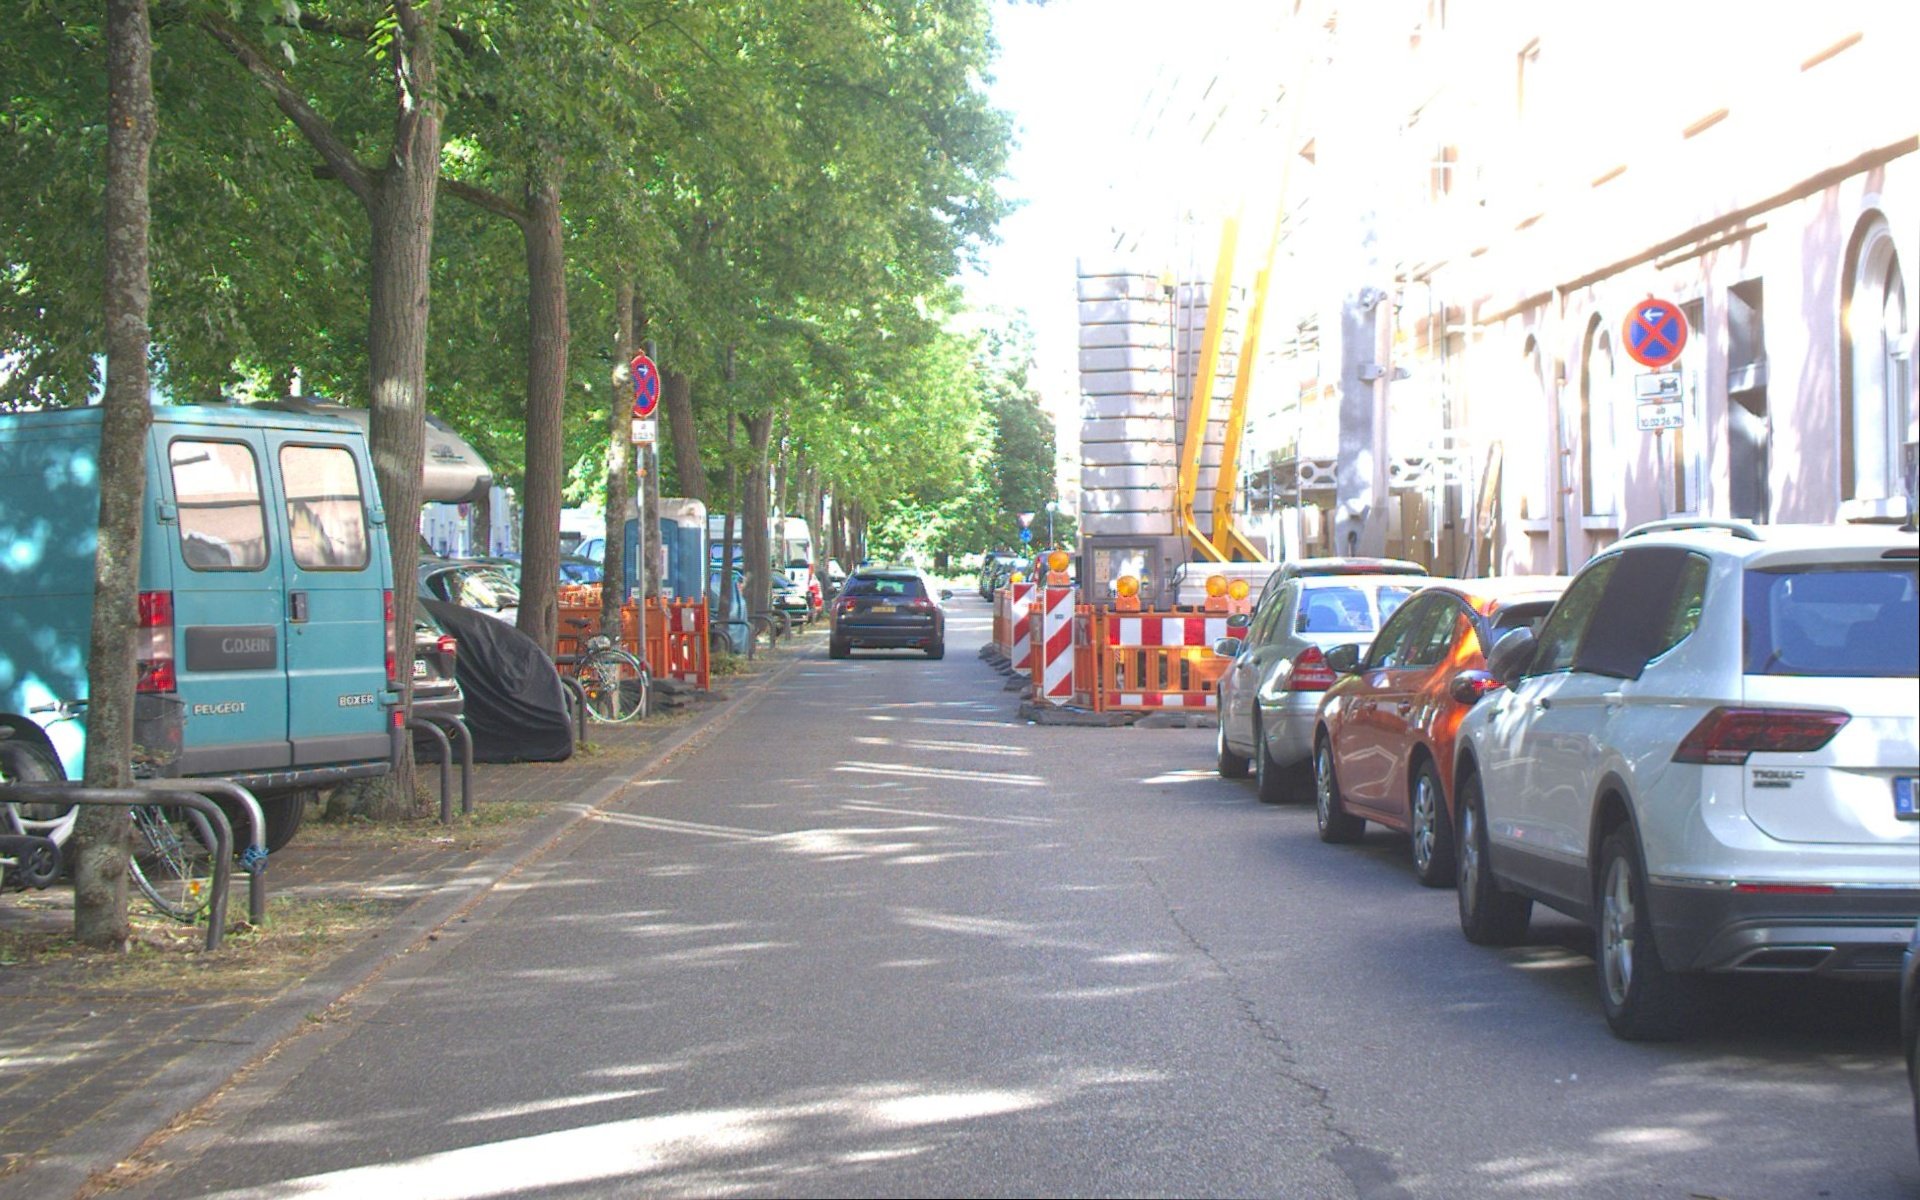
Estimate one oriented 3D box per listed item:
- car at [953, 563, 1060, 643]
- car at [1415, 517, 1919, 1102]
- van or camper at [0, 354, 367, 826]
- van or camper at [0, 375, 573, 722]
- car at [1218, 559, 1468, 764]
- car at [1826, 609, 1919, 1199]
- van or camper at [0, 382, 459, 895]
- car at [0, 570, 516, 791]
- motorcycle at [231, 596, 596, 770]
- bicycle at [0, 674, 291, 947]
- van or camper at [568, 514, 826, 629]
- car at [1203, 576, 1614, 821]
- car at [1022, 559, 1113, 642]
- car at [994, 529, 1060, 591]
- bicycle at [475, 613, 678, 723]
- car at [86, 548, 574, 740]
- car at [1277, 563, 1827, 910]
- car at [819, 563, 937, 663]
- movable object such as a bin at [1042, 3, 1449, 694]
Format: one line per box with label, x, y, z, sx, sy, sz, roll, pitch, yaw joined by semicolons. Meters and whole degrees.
car;0.828;0.035;63.009;1.797;1.380;3.586;-1;1;-2
car;2.851;0.558;12.177;1.816;1.668;4.673;-1;1;0
van or camper;-6.776;-0.058;21.548;5.877;2.628;2.251;-1;1;29
van or camper;-7.396;-0.478;34.647;6.666;3.229;2.492;-1;1;28
car;2.972;0.444;27.149;1.591;1.525;2.781;0;1;-2
car;2.999;0.752;6.735;1.617;1.408;3.788;-1;1;0
van or camper;-5.496;0.174;17.299;5.504;2.267;2.218;-1;1;24
car;-5.257;0.520;23.898;3.959;1.409;1.820;0;1;27
motorcycle;-4.041;0.611;25.494;2.550;1.254;0.762;-1;1;8
bicycle;-3.573;0.828;13.628;1.719;1.002;0.511;-1;1;-30
van or camper;-5.845;-0.624;76.304;5.342;2.466;2.290;0;1;32
car;2.812;0.567;22.589;1.993;1.404;4.501;0;1;-2
car;2.403;-0.010;77.437;1.797;1.794;3.586;-1;1;-2
car;2.010;-1.215;104.013;1.797;1.794;3.586;-1;1;-2
bicycle;-3.571;0.626;31.944;1.899;1.003;0.430;0;1;23
car;-5.625;0.367;30.693;3.958;1.623;1.820;0;1;25
car;2.854;0.589;17.459;1.790;1.518;3.964;-1;1;-5
car;-1.324;0.182;55.291;1.797;1.498;3.586;-1;1;-2
movable object such as a bin;2.952;-2.472;35.490;3.485;6.736;2.364;0;1;32
